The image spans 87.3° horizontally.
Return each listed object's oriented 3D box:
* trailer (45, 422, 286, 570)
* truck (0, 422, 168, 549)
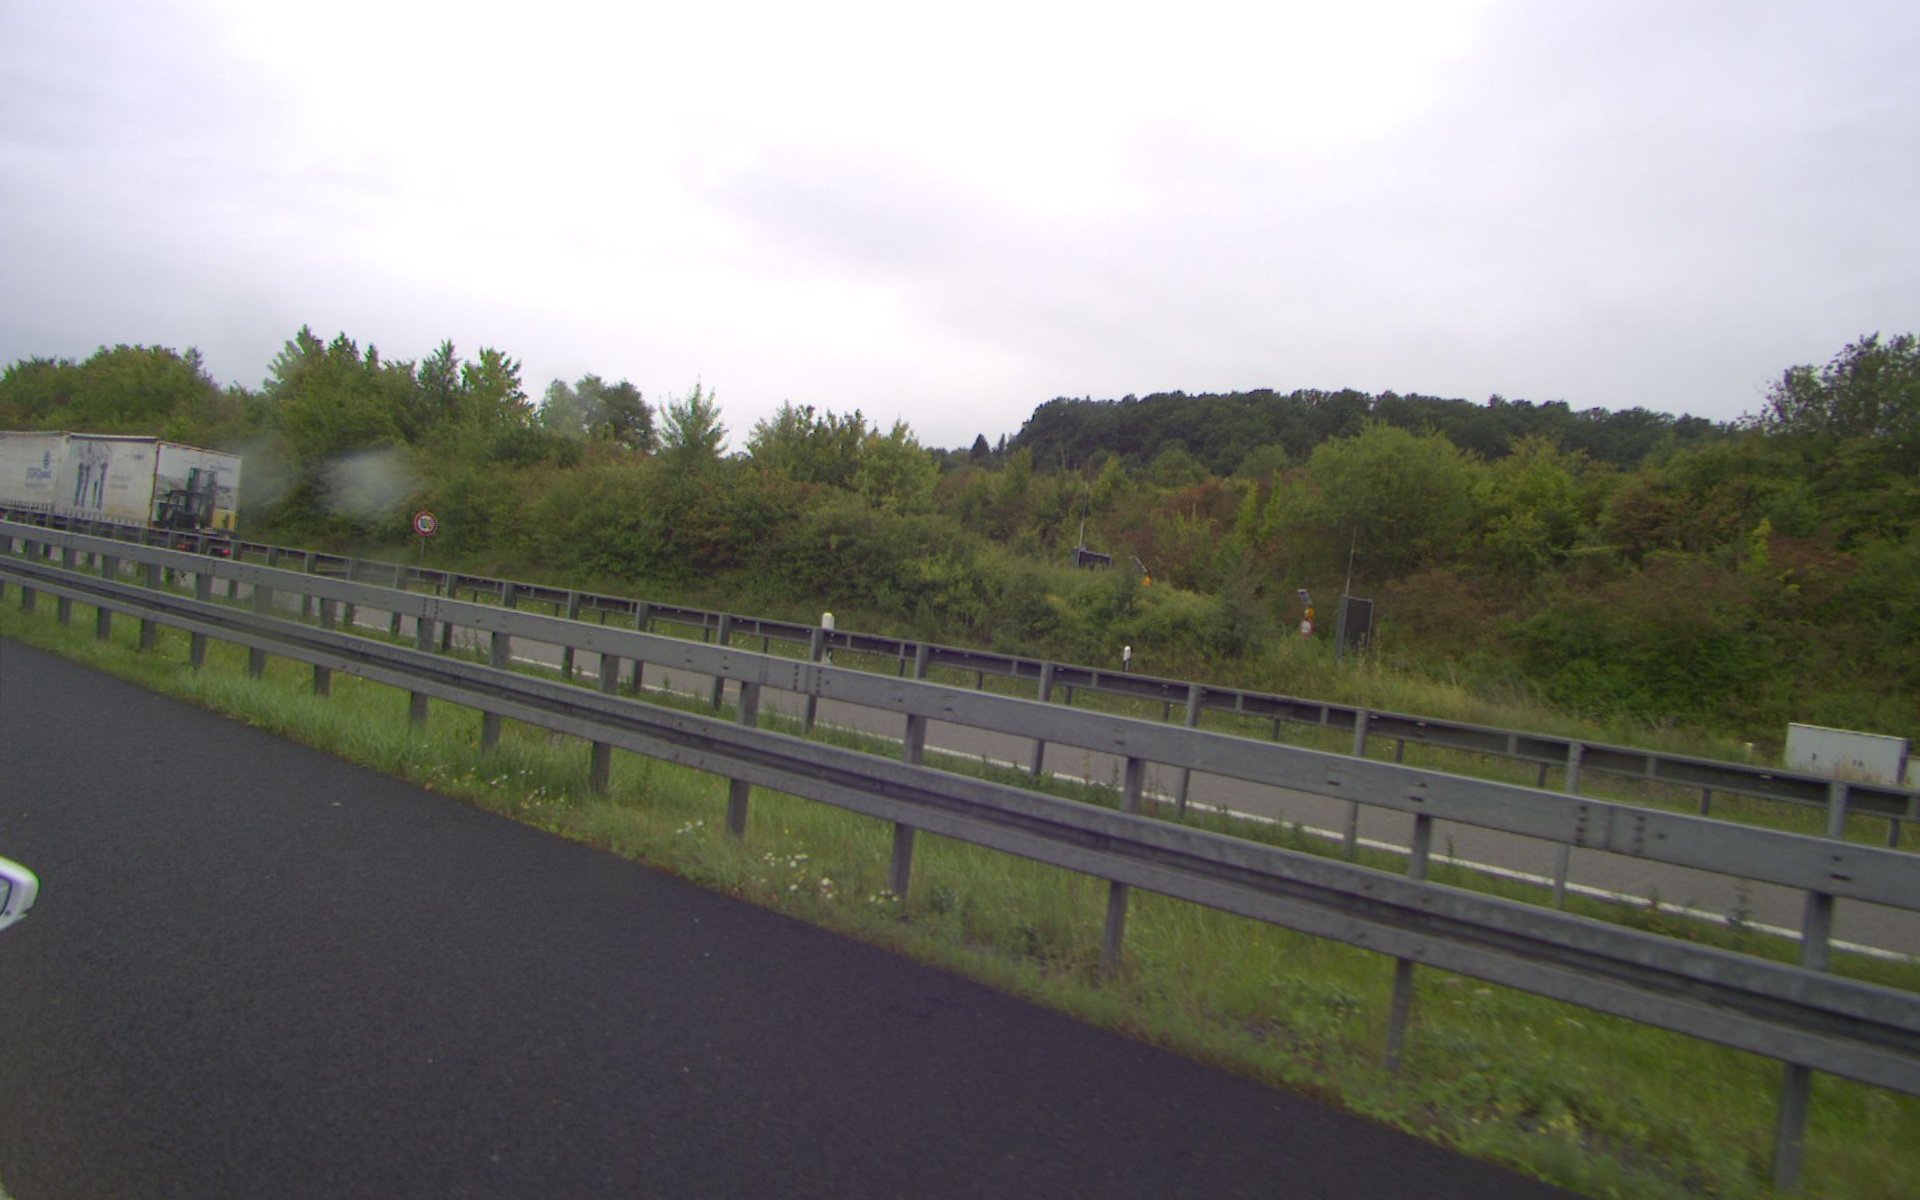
[{"bbox_3d":[-28.793,-3.846,36.256,10.284,4.341,3.441,7,-1,33],"label":"trailer"},{"bbox_3d":[-37.292,-4.864,41.936,10.250,4.341,3.441,7,-1,34],"label":"truck"}]
